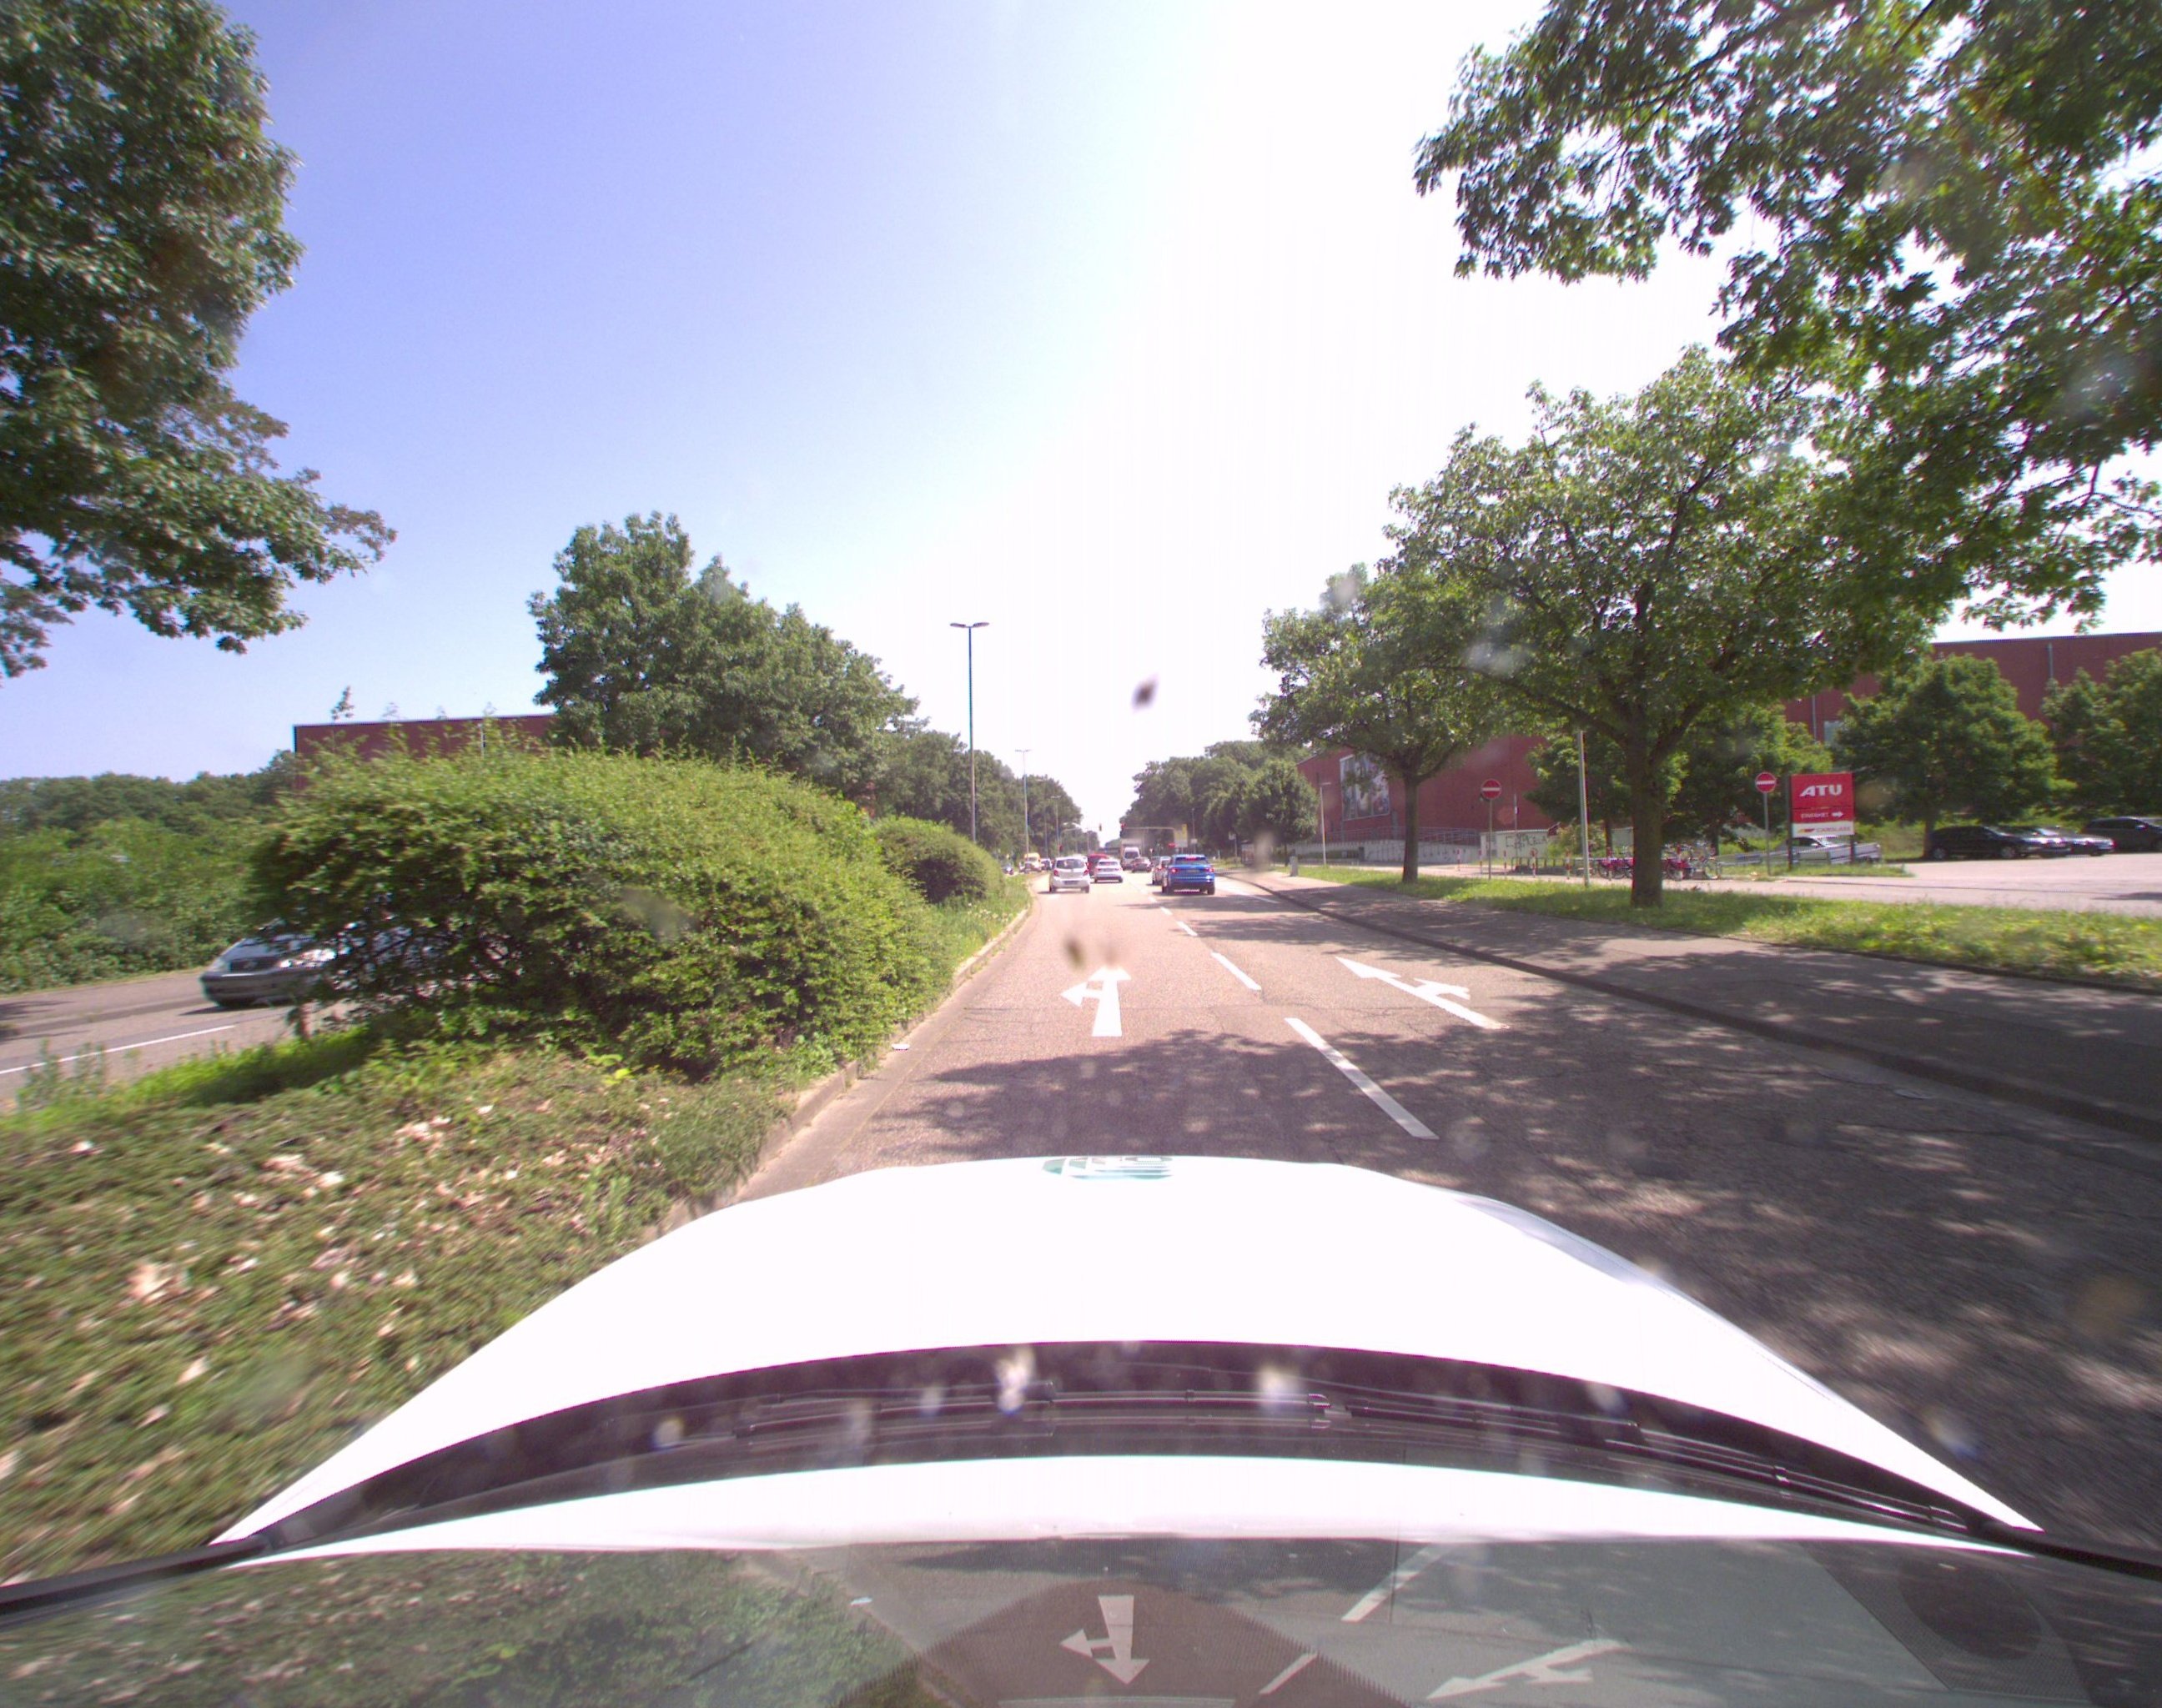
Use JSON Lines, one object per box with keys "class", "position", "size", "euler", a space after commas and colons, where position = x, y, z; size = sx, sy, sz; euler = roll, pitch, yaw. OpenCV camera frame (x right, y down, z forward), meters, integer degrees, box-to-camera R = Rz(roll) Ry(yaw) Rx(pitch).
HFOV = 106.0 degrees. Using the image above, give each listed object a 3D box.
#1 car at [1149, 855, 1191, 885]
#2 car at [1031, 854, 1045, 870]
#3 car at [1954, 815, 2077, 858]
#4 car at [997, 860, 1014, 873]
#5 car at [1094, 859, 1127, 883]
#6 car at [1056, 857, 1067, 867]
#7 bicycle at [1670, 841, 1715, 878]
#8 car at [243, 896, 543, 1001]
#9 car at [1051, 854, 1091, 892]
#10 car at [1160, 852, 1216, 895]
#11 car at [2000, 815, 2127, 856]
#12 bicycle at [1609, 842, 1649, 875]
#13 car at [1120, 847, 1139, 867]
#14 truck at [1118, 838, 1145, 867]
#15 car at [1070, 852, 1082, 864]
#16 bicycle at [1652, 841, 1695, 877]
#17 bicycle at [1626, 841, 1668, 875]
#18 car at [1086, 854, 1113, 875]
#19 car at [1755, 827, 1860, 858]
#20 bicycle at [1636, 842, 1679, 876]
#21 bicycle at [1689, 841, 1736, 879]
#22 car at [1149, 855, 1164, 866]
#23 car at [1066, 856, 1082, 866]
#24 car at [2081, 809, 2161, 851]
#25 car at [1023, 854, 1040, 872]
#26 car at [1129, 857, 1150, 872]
{"class": "car", "position": [4.725, 0.863, 43.807], "size": [1.859, 1.473, 4.000], "euler": [-2, -1, 1]}
{"class": "car", "position": [-6.396, 1.175, 120.371], "size": [1.773, 2.282, 3.999], "euler": [-1, -1, 0]}
{"class": "car", "position": [39.927, -0.708, 34.890], "size": [1.404, 1.697, 3.192], "euler": [-3, 0, -6]}
{"class": "car", "position": [-9.813, 1.660, 106.368], "size": [1.704, 1.662, 4.001], "euler": [-2, -1, 1]}
{"class": "car", "position": [1.768, 1.012, 49.488], "size": [1.878, 1.354, 4.001], "euler": [-2, -1, 2]}
{"class": "car", "position": [-2.789, 1.168, 116.634], "size": [1.364, 1.308, 2.692], "euler": [-3, 0, -1]}
{"class": "bicycle", "position": [19.047, 0.177, 25.359], "size": [1.084, 1.085, 0.347], "euler": [-3, -1, 1]}
{"class": "car", "position": [-11.548, 1.505, 14.089], "size": [1.757, 1.275, 3.863], "euler": [-5, -1, 2]}
{"class": "car", "position": [-0.470, 0.813, 35.530], "size": [1.634, 1.552, 3.321], "euler": [-2, -1, -3]}
{"class": "car", "position": [4.233, 0.755, 32.768], "size": [1.802, 1.593, 4.351], "euler": [-2, -1, 2]}
{"class": "car", "position": [42.770, -0.777, 35.559], "size": [1.561, 1.640, 3.370], "euler": [-3, 0, 5]}
{"class": "bicycle", "position": [19.088, 0.157, 28.375], "size": [1.084, 1.085, 0.407], "euler": [-3, 0, 1]}
{"class": "car", "position": [5.686, 0.354, 95.116], "size": [1.986, 2.255, 4.001], "euler": [-3, 0, 1]}
{"class": "truck", "position": [6.480, -0.154, 105.629], "size": [2.921, 3.502, 9.160], "euler": [-3, 0, 1]}
{"class": "car", "position": [-0.911, 0.774, 146.811], "size": [1.986, 2.013, 4.001], "euler": [-3, 0, 1]}
{"class": "bicycle", "position": [19.089, 0.158, 26.232], "size": [1.084, 1.085, 0.347], "euler": [-3, -1, 1]}
{"class": "bicycle", "position": [19.165, 0.144, 27.571], "size": [1.084, 1.085, 0.407], "euler": [-3, 0, 1]}
{"class": "car", "position": [1.386, 0.814, 62.344], "size": [1.790, 1.523, 3.996], "euler": [-1, -1, -3]}
{"class": "car", "position": [32.849, -0.499, 36.976], "size": [1.406, 1.290, 3.874], "euler": [-3, 0, 3]}
{"class": "bicycle", "position": [19.039, 0.168, 26.920], "size": [1.084, 1.085, 0.407], "euler": [-3, 0, 1]}
{"class": "bicycle", "position": [19.167, 0.175, 24.727], "size": [1.084, 1.085, 0.347], "euler": [-3, -1, 1]}
{"class": "car", "position": [9.997, 0.845, 108.399], "size": [1.627, 1.464, 4.001], "euler": [-3, 0, 1]}
{"class": "car", "position": [-0.966, 0.944, 110.585], "size": [1.986, 1.288, 4.001], "euler": [-3, 0, 1]}
{"class": "car", "position": [47.433, -1.090, 36.221], "size": [1.568, 1.794, 3.353], "euler": [-3, 0, -10]}
{"class": "car", "position": [-6.417, 1.153, 105.535], "size": [1.772, 2.282, 4.754], "euler": [-2, -1, 2]}
{"class": "car", "position": [5.700, 1.011, 79.640], "size": [1.859, 1.310, 4.001], "euler": [-3, 0, 1]}
